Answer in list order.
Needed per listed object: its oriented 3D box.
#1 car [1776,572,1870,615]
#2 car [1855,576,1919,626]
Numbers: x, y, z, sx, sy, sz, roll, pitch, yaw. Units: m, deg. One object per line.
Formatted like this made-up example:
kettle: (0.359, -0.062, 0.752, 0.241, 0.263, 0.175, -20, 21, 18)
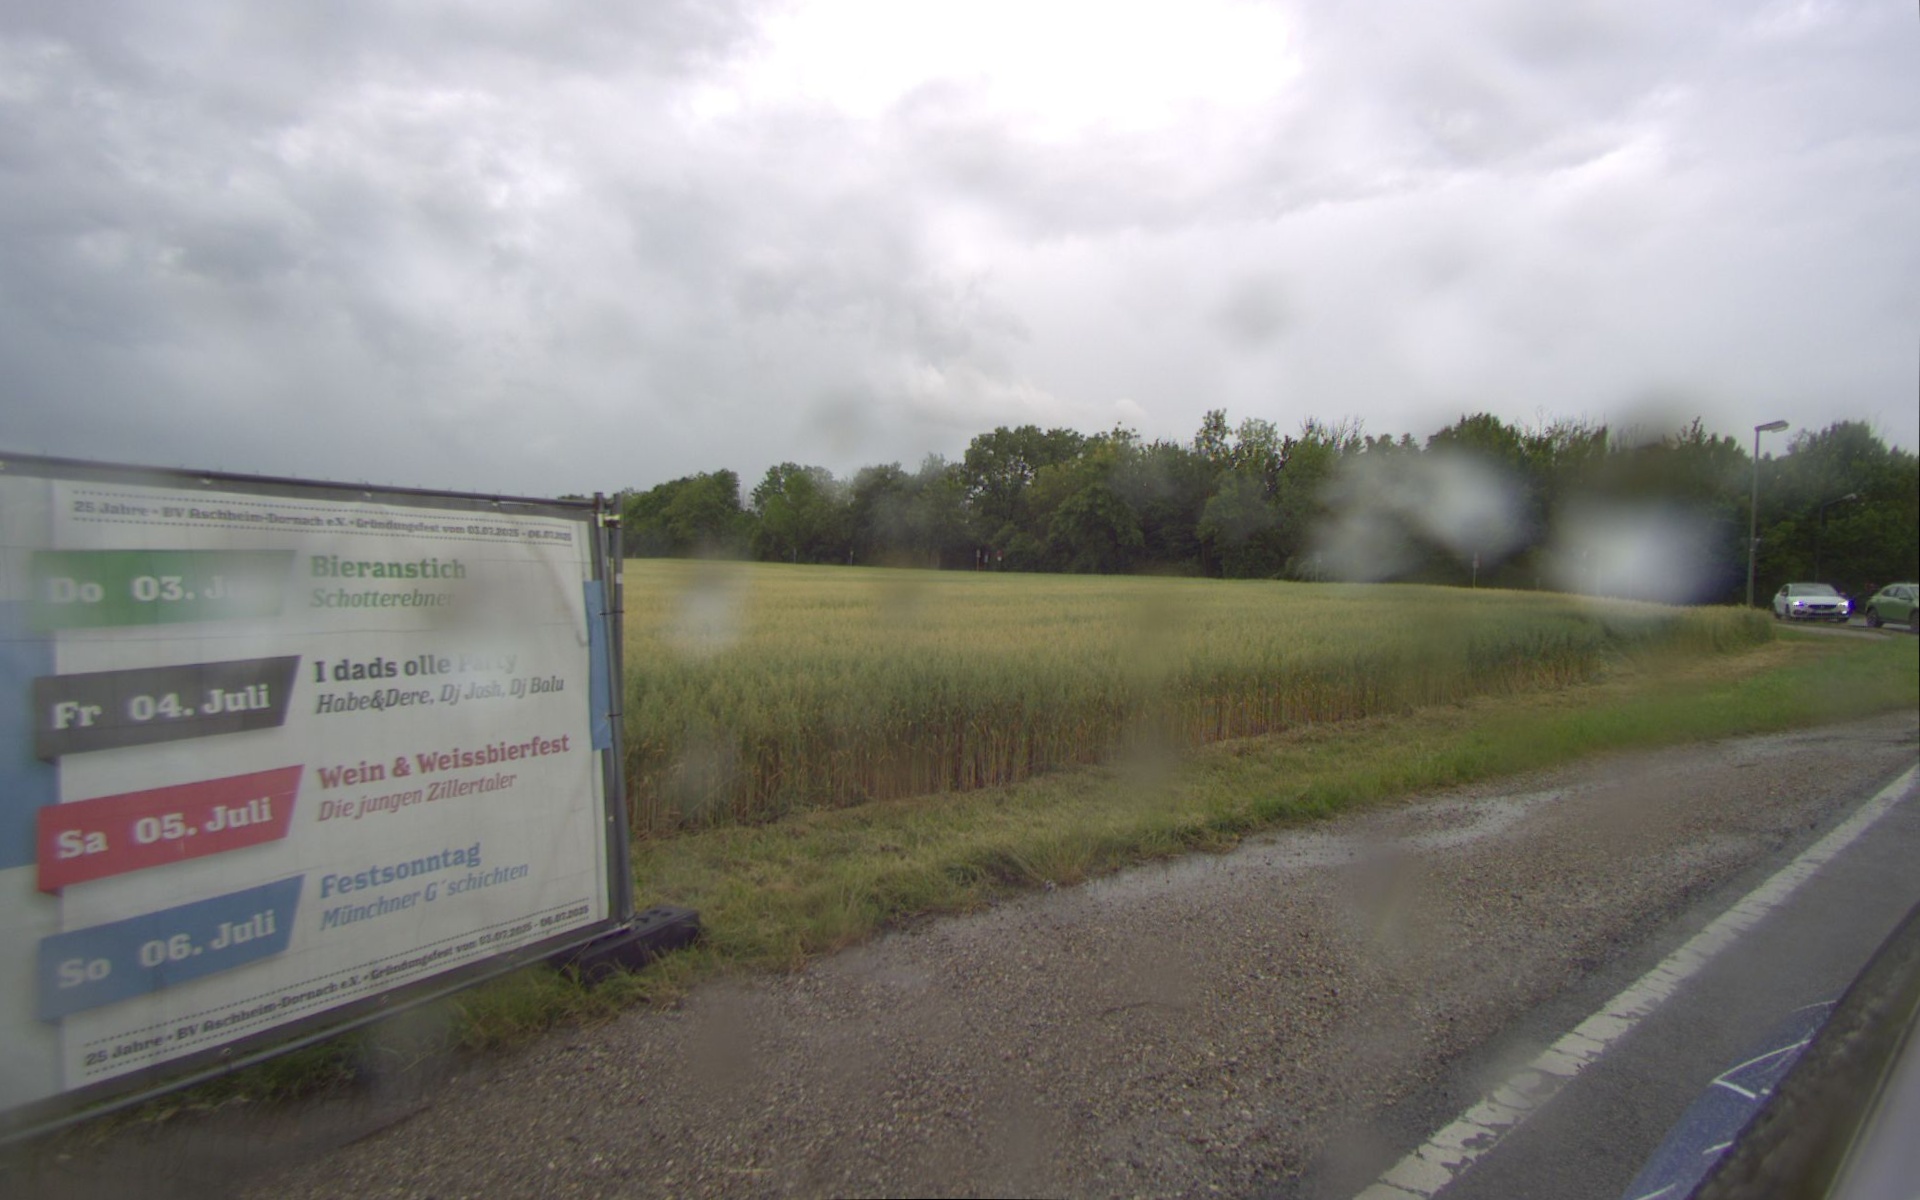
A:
car: (33.193, -0.268, 39.058, 1.877, 1.550, 4.456, 1, 1, 29)
car: (30.864, 0.032, 32.023, 1.868, 1.550, 5.224, 1, 1, 18)
